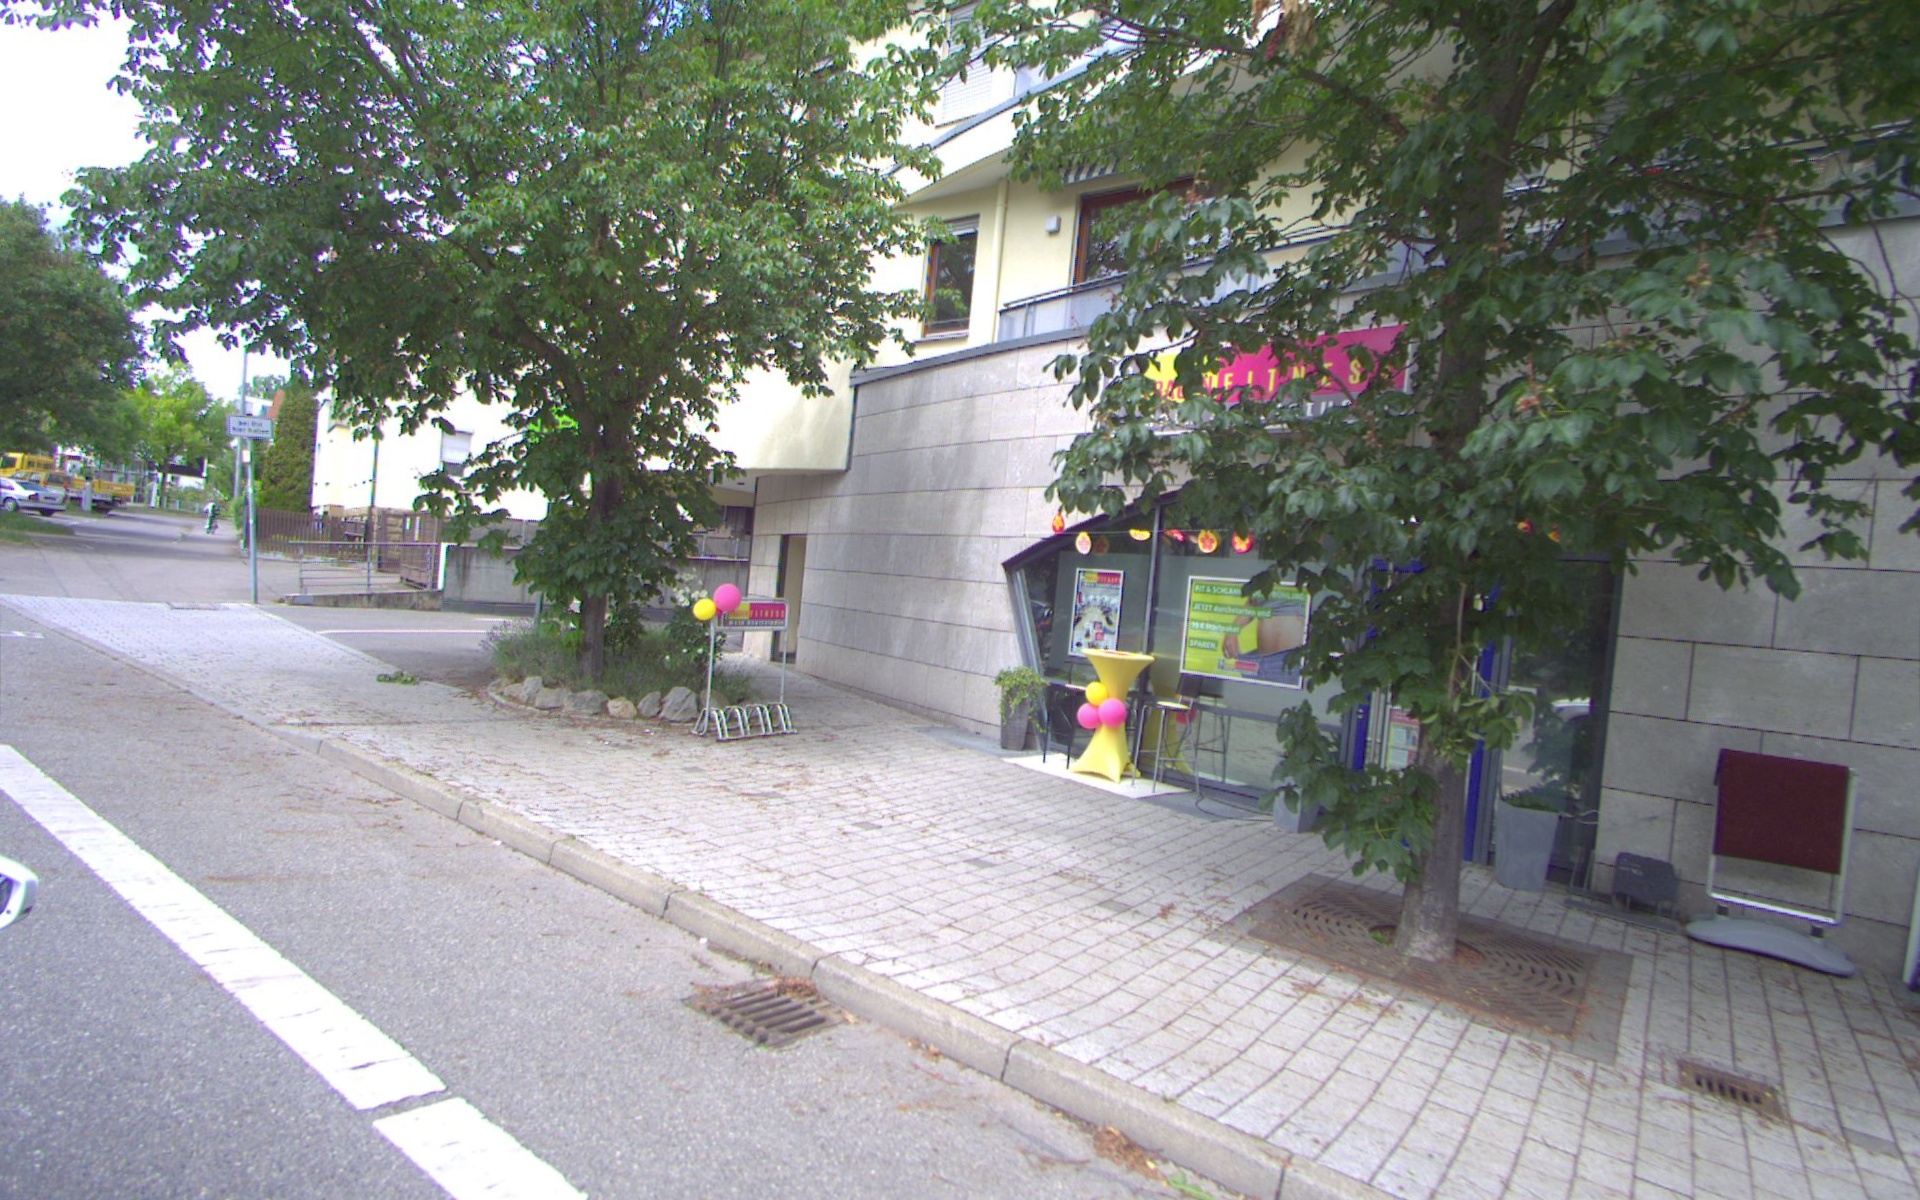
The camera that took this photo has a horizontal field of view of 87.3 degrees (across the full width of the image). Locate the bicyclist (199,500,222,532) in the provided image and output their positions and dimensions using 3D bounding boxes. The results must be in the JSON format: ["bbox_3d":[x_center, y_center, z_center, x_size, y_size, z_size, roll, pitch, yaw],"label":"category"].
[{"bbox_3d":[-35.482,-3.980,47.648,0.773,1.417,0.695,6,0,-38],"label":"bicyclist"}]

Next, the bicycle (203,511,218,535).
[{"bbox_3d":[-35.483,-3.613,47.640,0.459,1.047,2.736,6,0,-36],"label":"bicycle"}]

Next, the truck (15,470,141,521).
[{"bbox_3d":[-50.003,-5.862,57.241,2.050,2.038,5.616,6,-1,0],"label":"truck"}]

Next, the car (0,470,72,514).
[{"bbox_3d":[-54.605,-6.322,58.989,1.711,2.038,3.765,6,-1,-5],"label":"car"}]
